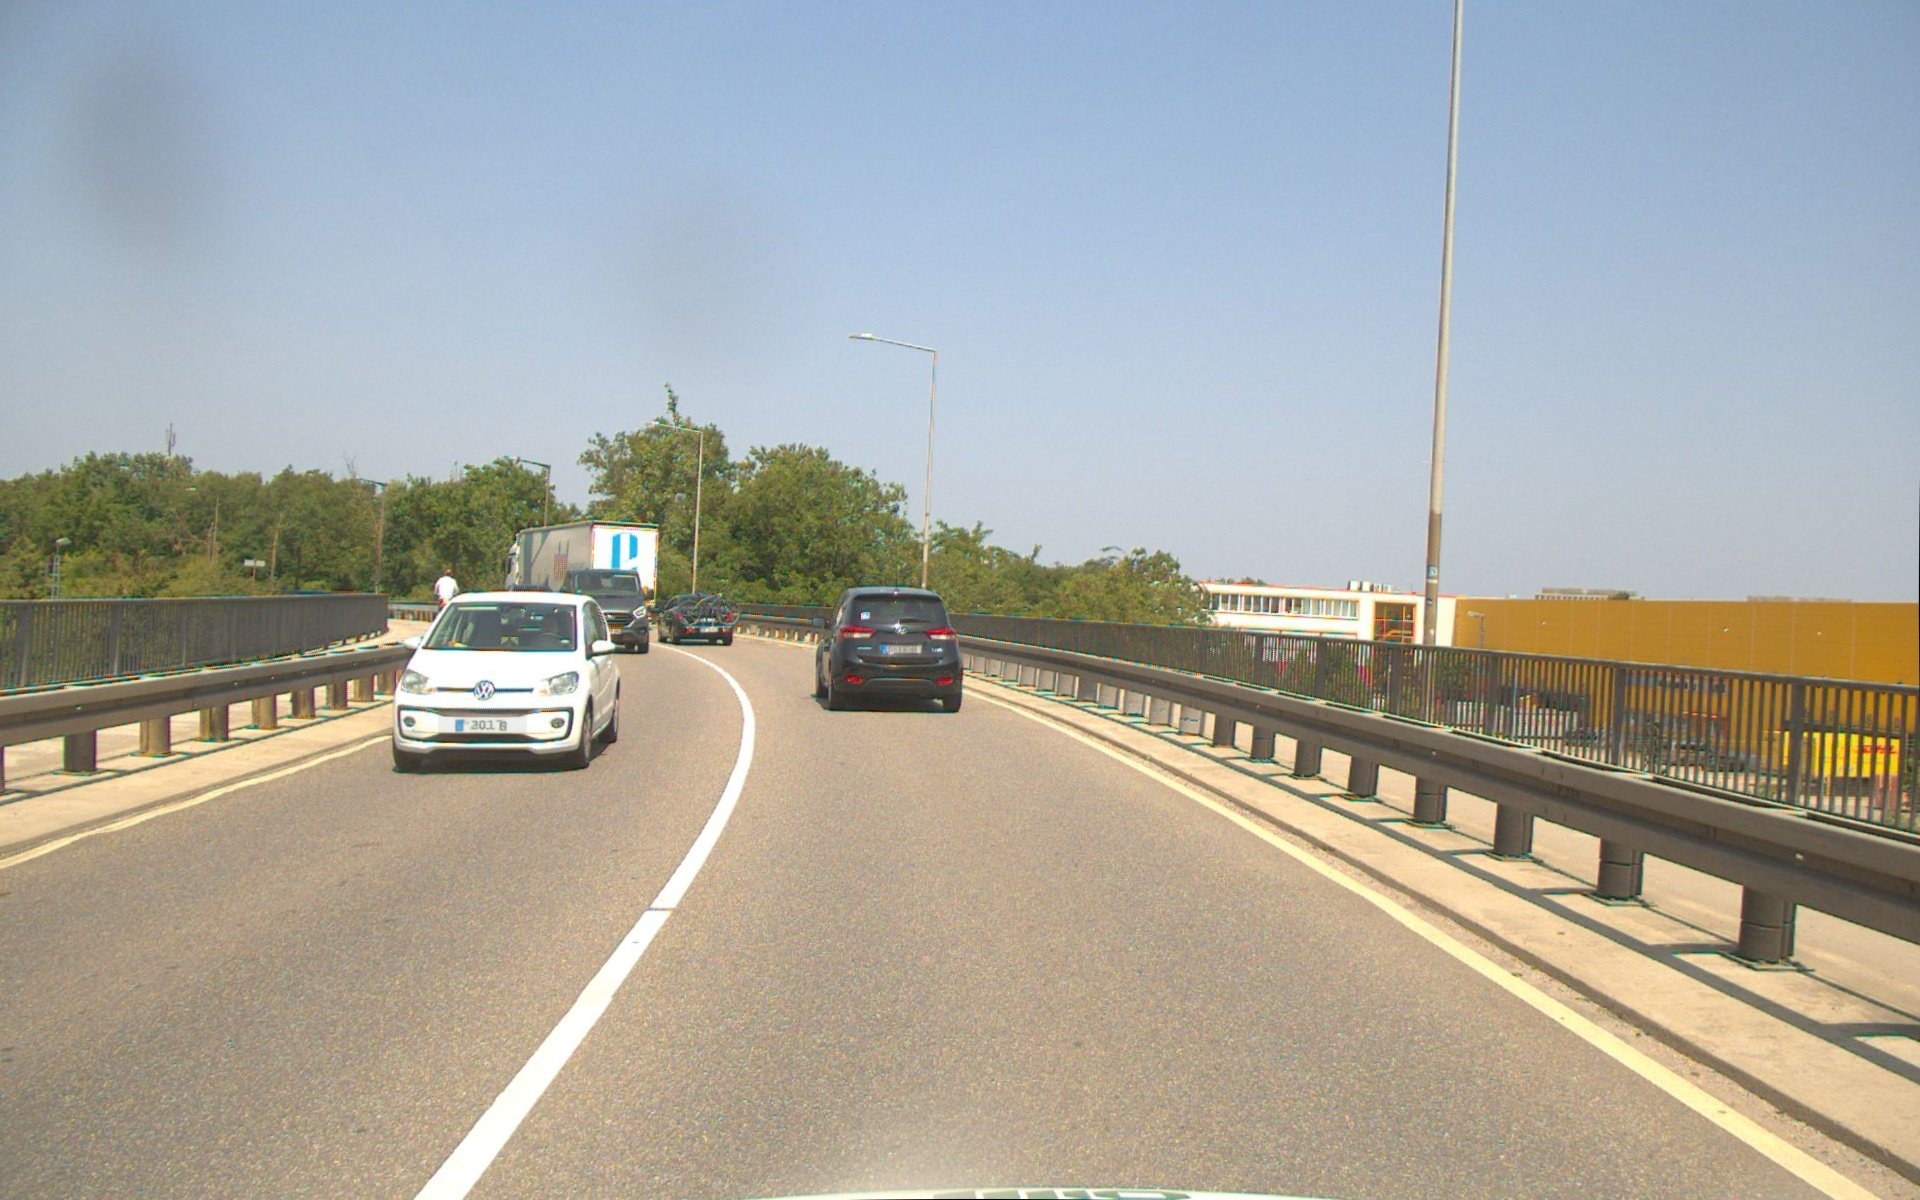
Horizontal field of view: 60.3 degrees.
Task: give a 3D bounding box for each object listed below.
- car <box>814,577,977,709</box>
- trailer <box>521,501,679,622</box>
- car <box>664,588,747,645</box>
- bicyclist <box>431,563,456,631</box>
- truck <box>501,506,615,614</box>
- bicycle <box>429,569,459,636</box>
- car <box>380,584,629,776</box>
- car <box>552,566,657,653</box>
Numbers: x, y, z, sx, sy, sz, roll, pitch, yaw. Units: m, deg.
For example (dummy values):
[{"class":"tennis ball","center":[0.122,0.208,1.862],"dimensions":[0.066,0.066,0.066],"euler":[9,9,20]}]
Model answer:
[{"class":"car","center":[-0.970,0.518,22.640],"dimensions":[1.885,1.601,3.886],"euler":[1,1,-7]},{"class":"trailer","center":[-14.813,-1.548,67.207],"dimensions":[3.527,4.460,11.342],"euler":[1,1,-27]},{"class":"car","center":[-7.300,0.444,47.156],"dimensions":[1.977,1.454,3.763],"euler":[1,1,-14]},{"class":"bicyclist","center":[-14.558,-0.089,46.620],"dimensions":[0.615,1.919,0.708],"euler":[1,1,-21]},{"class":"truck","center":[-17.909,-1.744,73.390],"dimensions":[3.530,4.518,6.459],"euler":[1,1,-27]},{"class":"bicycle","center":[-14.518,0.051,46.529],"dimensions":[0.687,1.833,2.169],"euler":[1,1,-19]},{"class":"car","center":[-3.994,0.629,15.008],"dimensions":[1.632,1.489,3.481],"euler":[1,1,-7]},{"class":"car","center":[-8.781,0.229,40.495],"dimensions":[1.976,1.993,5.243],"euler":[1,0,-18]}]
